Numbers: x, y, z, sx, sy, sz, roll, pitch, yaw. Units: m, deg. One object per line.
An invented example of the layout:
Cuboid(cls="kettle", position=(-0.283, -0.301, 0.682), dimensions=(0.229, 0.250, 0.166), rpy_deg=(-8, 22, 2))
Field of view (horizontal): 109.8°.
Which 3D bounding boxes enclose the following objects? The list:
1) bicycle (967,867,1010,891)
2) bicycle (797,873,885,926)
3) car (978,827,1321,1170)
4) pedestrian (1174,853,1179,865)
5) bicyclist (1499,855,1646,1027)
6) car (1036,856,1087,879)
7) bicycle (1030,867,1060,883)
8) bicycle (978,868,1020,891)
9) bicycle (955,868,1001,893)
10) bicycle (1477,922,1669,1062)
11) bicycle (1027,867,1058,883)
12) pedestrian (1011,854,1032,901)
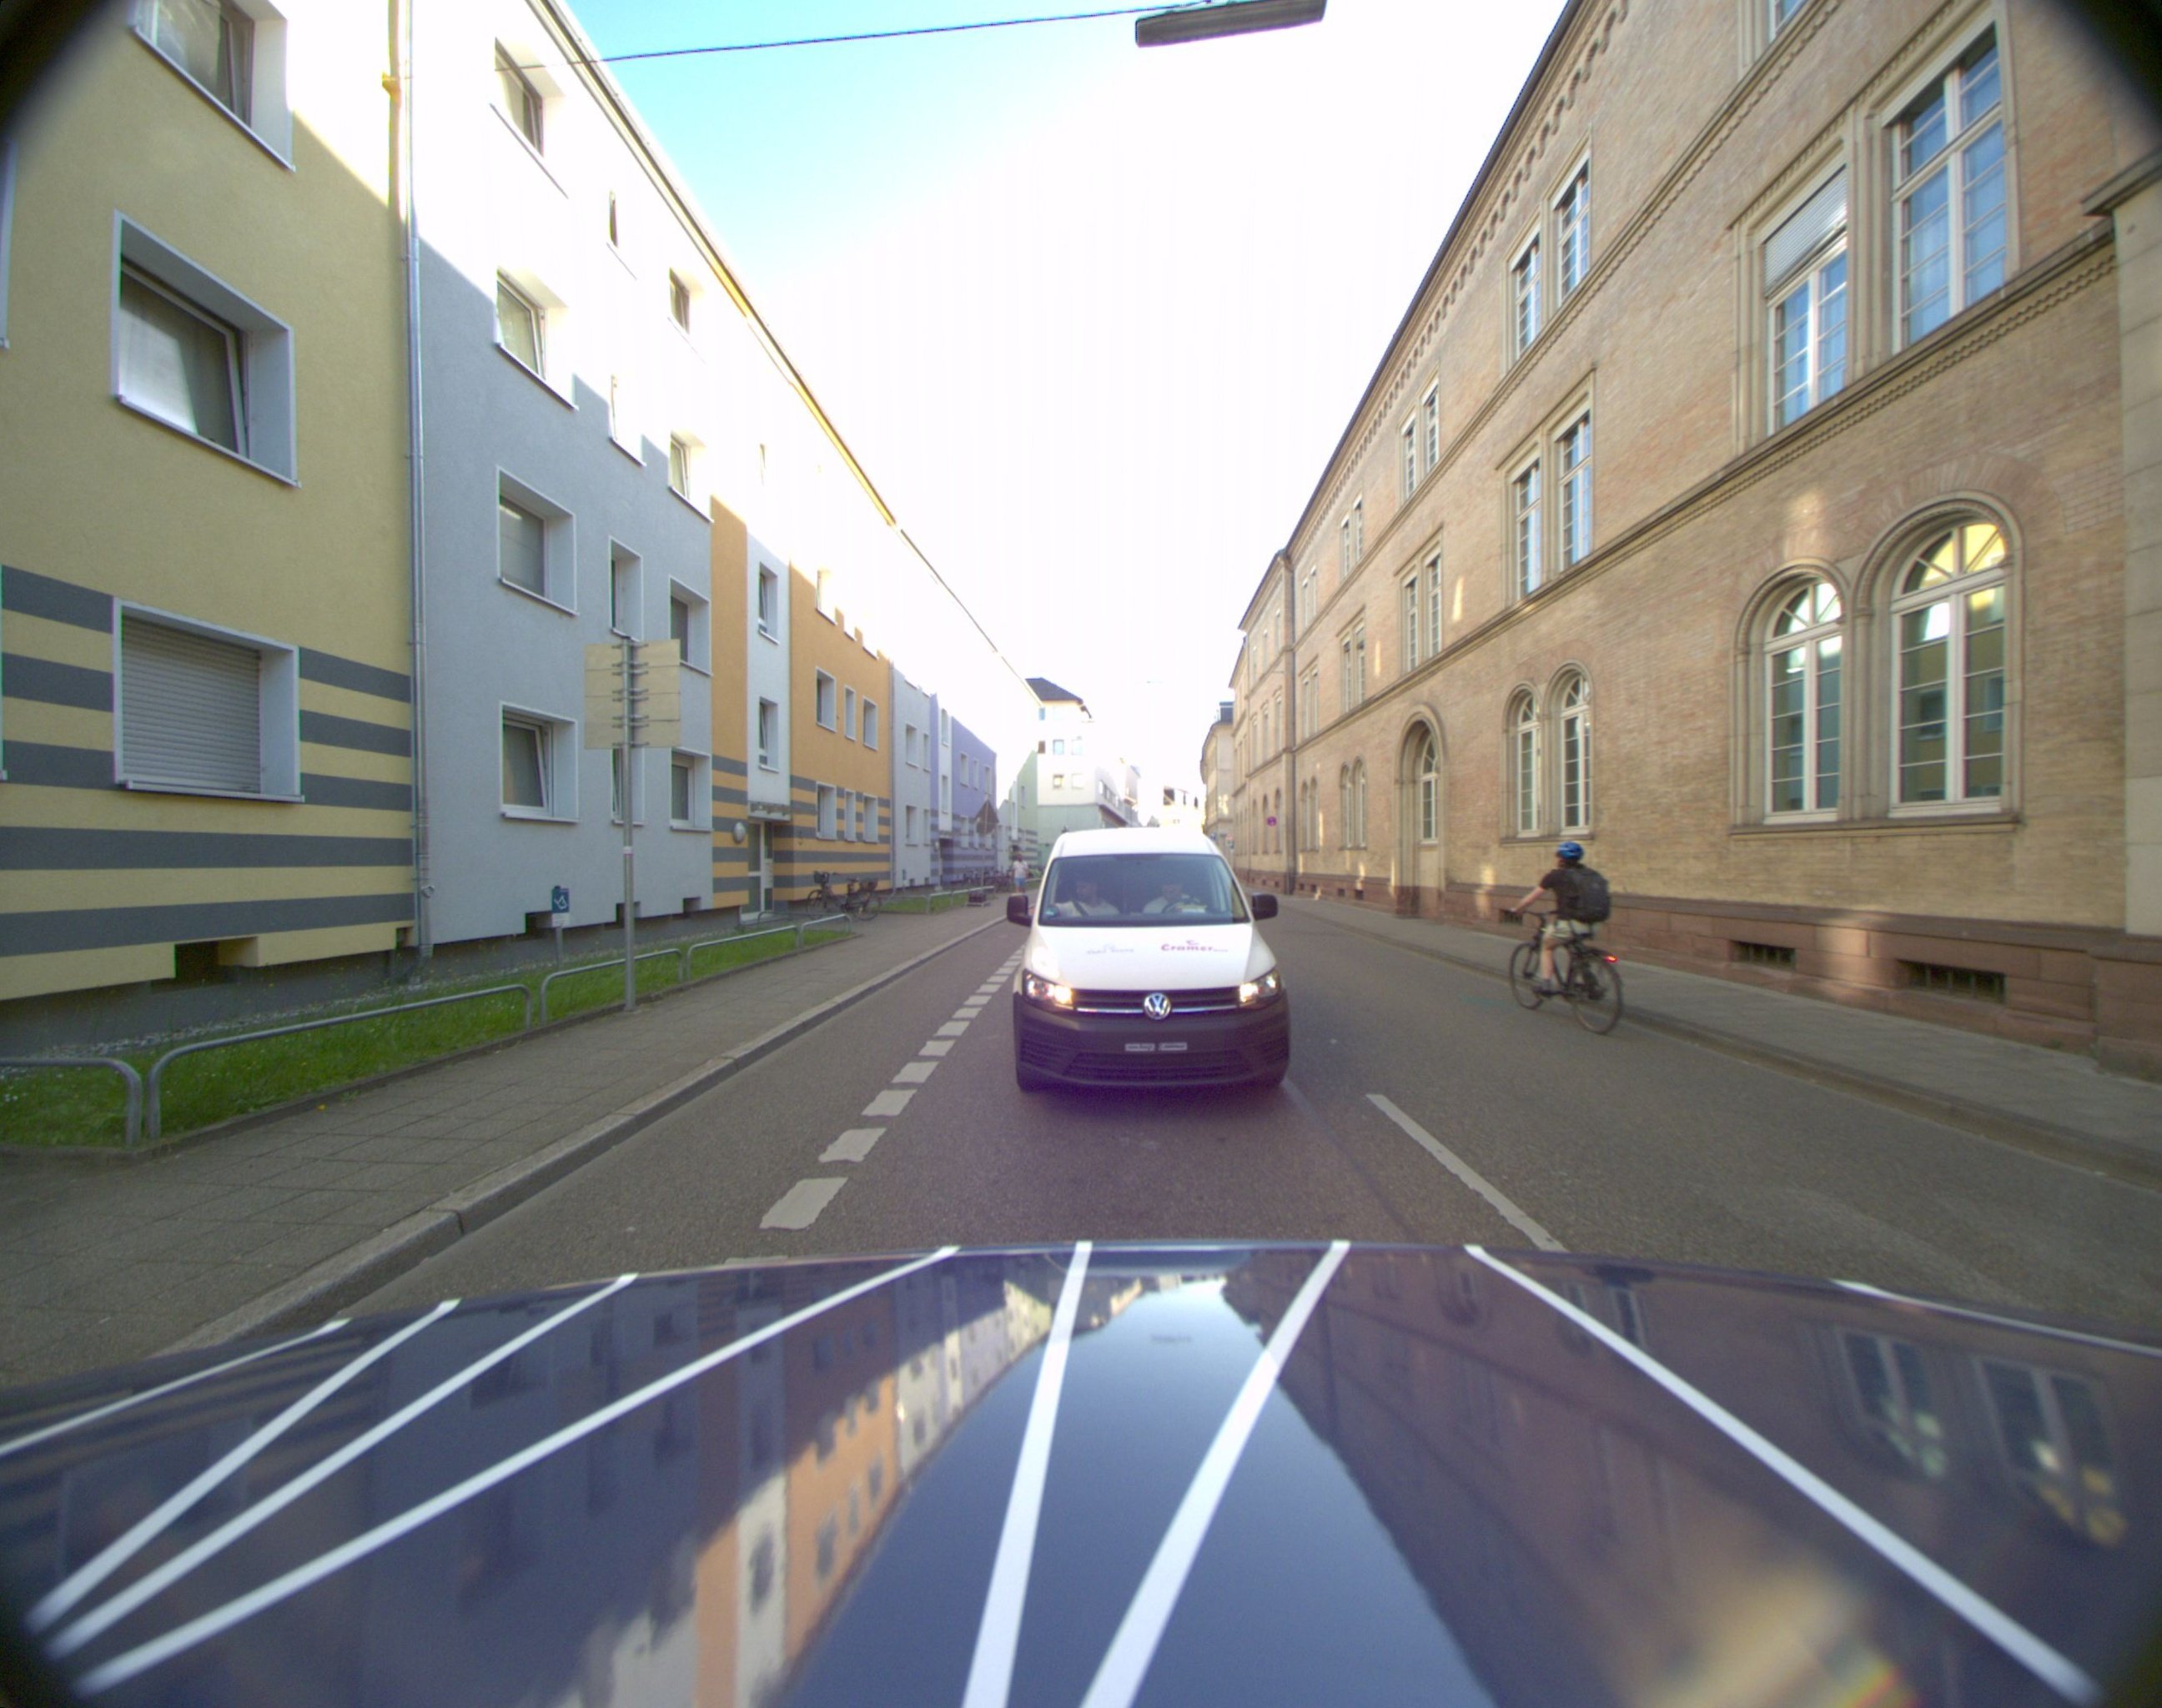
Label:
Cuboid(cls="bicycle", position=(-4.041, 1.100, 33.216), dimensions=(1.775, 0.990, 0.584), rpy_deg=(1, 1, 7))
Cuboid(cls="bicycle", position=(-5.386, 1.016, 17.117), dimensions=(1.776, 1.118, 0.583), rpy_deg=(1, 1, -1))
Cuboid(cls="car", position=(0.400, 0.779, 6.732), dimensions=(1.819, 1.825, 5.341), rpy_deg=(0, 0, 1))
Cuboid(cls="pedestrian", position=(15.281, 0.799, 121.619), dimensions=(0.644, 1.937, 0.779), rpy_deg=(0, 0, 10))
Cuboid(cls="bicyclist", position=(4.663, 0.771, 7.294), dimensions=(0.651, 1.500, 1.111), rpy_deg=(2, 0, 2))
Cuboid(cls="car", position=(-1.585, 1.132, 63.491), dimensions=(3.995, 1.681, 1.901), rpy_deg=(-2, 1, 5))
Cuboid(cls="bicycle", position=(-2.227, 1.307, 47.624), dimensions=(1.775, 0.934, 0.584), rpy_deg=(1, 1, 7))
Cuboid(cls="bicycle", position=(-3.651, 1.137, 33.832), dimensions=(1.775, 0.934, 0.584), rpy_deg=(1, 1, 7))
Cuboid(cls="bicycle", position=(-4.317, 1.110, 31.874), dimensions=(1.775, 0.990, 0.584), rpy_deg=(1, 1, 7))
Cuboid(cls="bicycle", position=(4.647, 1.250, 7.359), dimensions=(0.651, 1.001, 1.876), rpy_deg=(2, 0, 2))
Cuboid(cls="bicycle", position=(-2.306, 1.276, 46.087), dimensions=(1.775, 0.934, 0.584), rpy_deg=(1, 1, 7))
Cuboid(cls="pedestrian", position=(-2.095, 0.817, 26.890), dimensions=(0.644, 1.662, 0.834), rpy_deg=(1, 0, 3))
